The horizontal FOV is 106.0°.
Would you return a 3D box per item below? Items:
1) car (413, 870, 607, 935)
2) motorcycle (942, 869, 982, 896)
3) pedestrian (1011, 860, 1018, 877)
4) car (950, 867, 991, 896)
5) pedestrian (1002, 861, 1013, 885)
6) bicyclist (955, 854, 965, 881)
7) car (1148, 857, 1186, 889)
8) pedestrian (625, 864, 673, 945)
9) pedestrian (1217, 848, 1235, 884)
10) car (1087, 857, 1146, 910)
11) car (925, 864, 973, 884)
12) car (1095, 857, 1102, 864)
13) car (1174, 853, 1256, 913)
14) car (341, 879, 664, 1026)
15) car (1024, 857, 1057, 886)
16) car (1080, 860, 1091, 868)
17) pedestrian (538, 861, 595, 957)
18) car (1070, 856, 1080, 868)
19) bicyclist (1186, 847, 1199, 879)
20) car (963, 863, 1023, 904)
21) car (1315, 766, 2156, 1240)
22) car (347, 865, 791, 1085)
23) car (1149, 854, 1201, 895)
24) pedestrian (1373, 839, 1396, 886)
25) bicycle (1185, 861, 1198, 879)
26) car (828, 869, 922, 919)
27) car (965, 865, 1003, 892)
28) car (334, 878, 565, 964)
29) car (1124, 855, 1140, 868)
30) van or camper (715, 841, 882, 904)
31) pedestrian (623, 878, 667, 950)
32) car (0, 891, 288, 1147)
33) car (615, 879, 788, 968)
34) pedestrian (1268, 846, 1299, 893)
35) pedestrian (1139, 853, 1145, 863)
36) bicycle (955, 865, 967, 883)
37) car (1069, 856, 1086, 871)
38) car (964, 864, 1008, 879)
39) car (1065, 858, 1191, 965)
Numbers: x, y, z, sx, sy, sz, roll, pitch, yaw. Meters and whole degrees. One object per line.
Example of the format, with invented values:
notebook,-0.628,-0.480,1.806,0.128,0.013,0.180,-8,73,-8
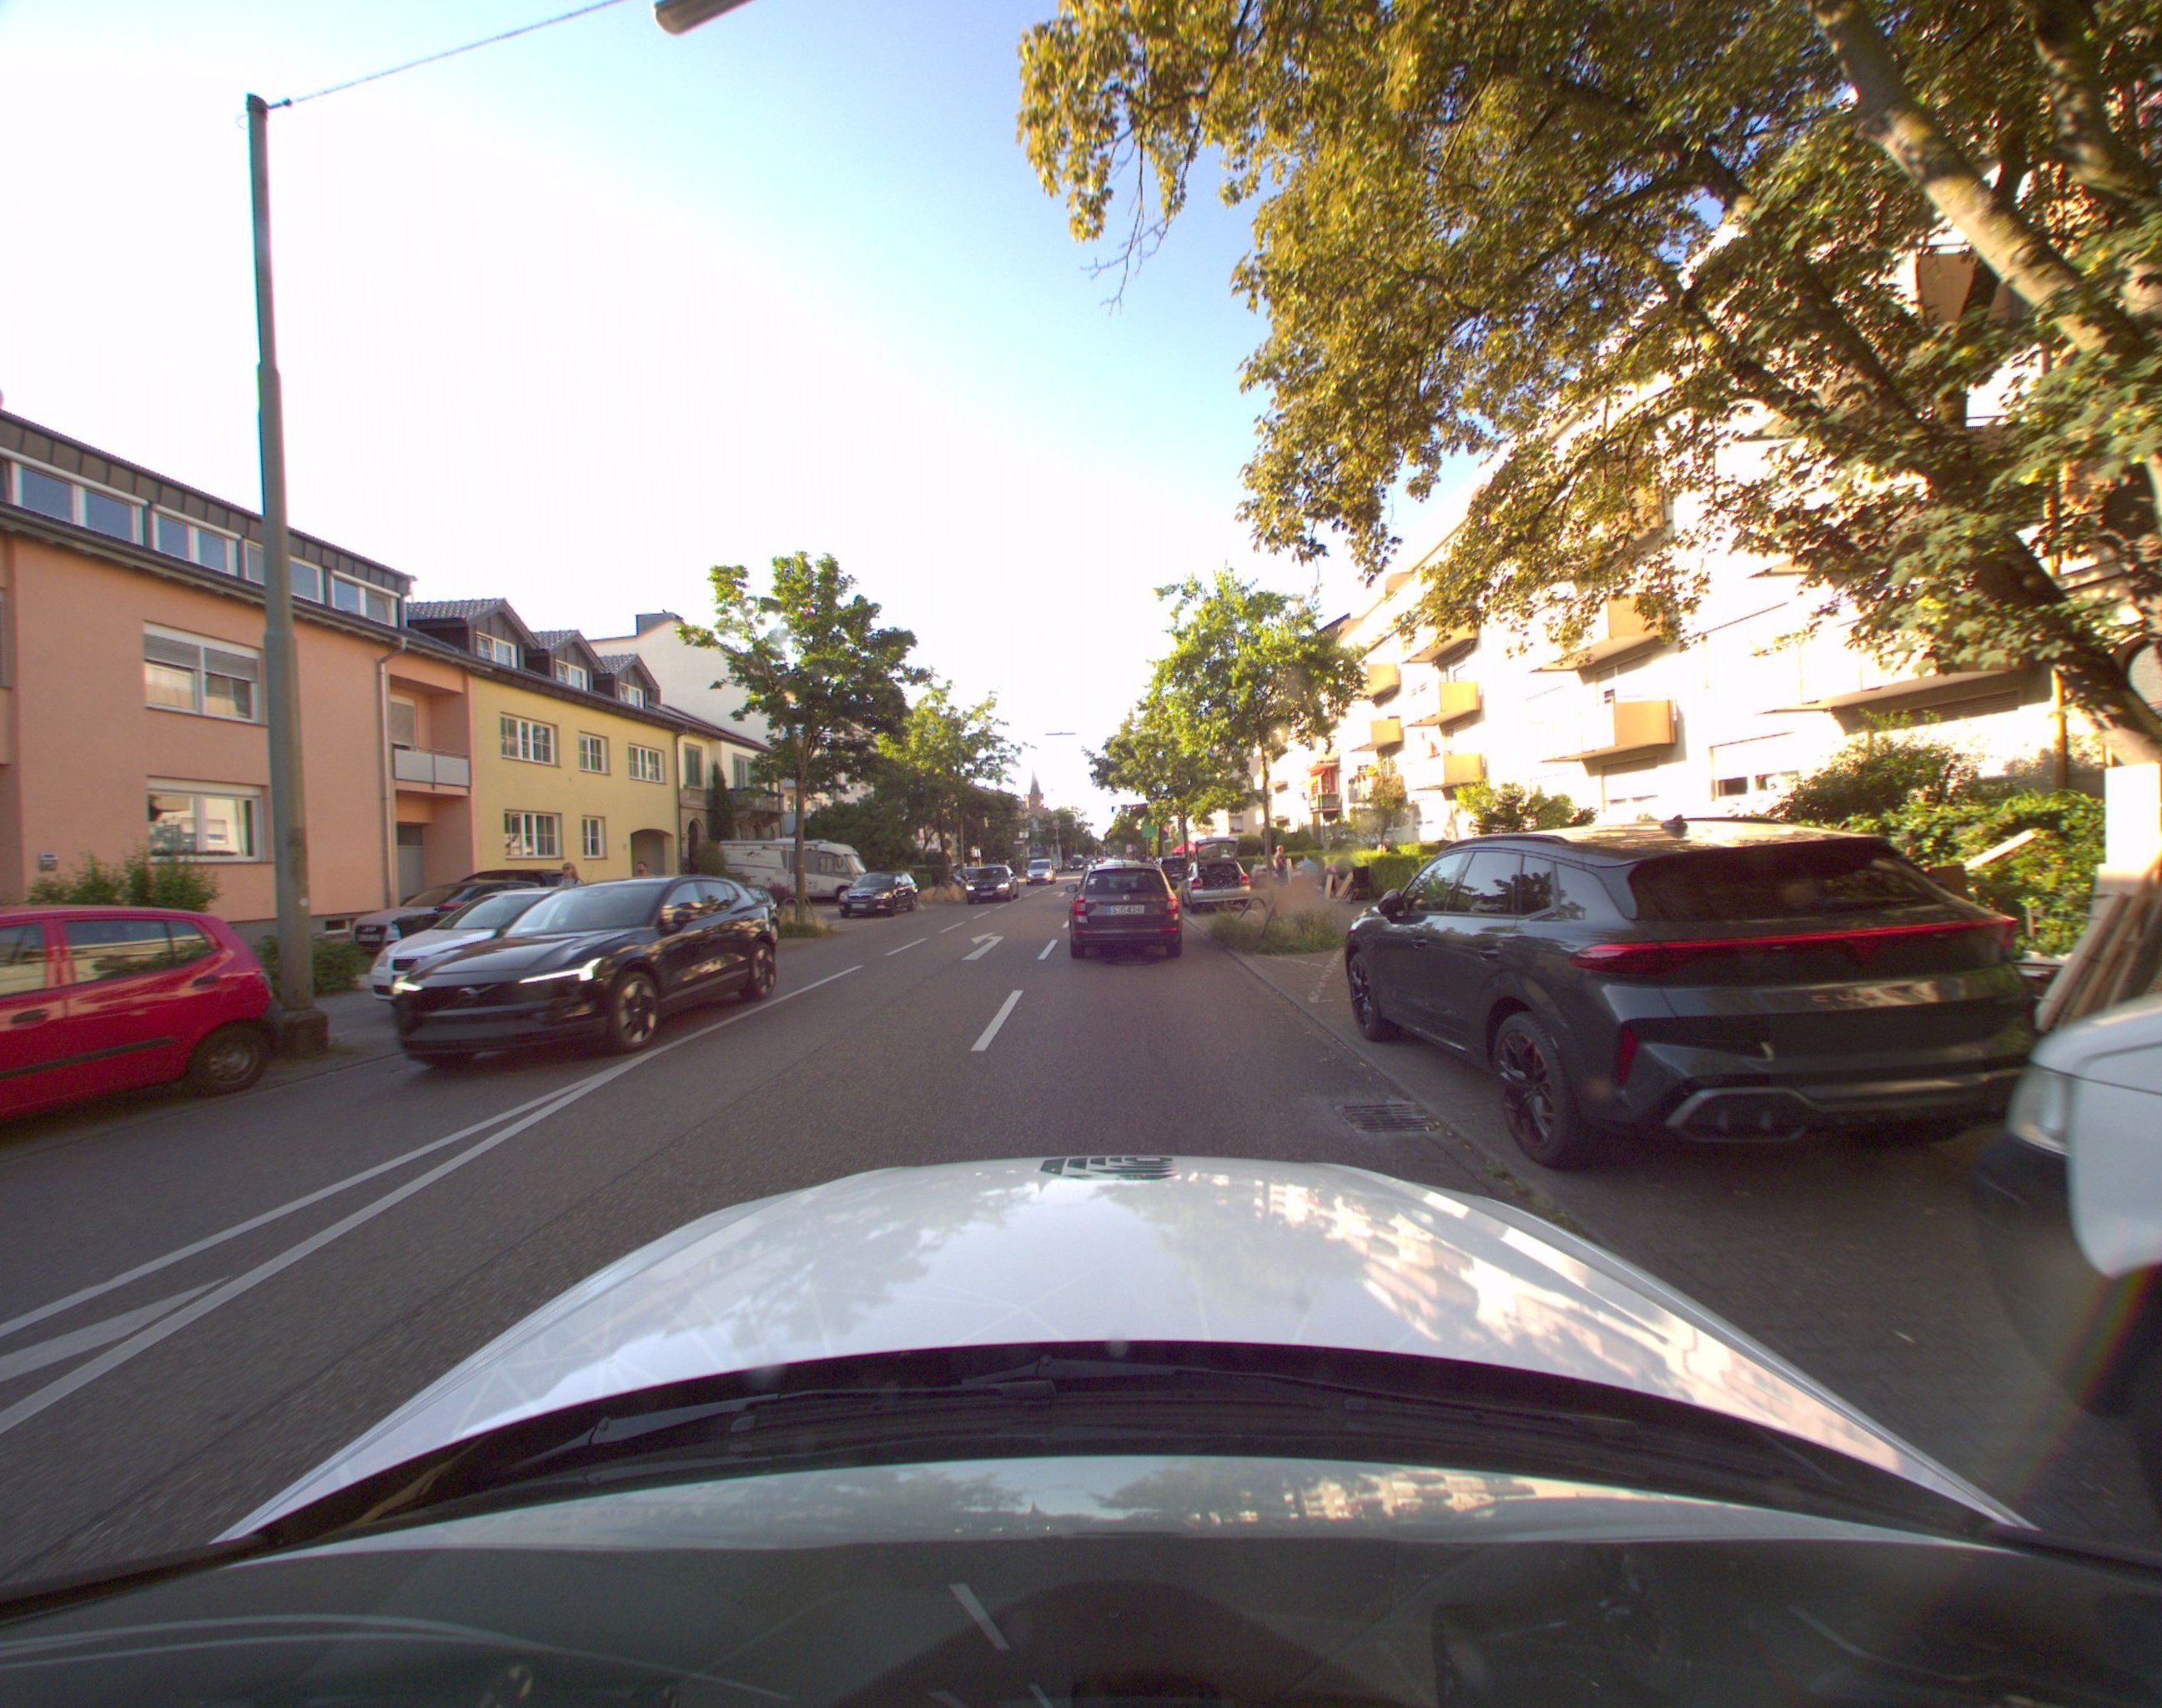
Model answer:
car,-15.424,1.279,22.146,3.971,1.636,1.867,0,-1,2
motorcycle,-6.013,1.452,41.042,2.028,1.265,0.772,-3,-1,40
pedestrian,-7.138,1.613,87.972,0.613,1.797,0.504,-3,-1,2
car,-6.000,1.486,44.753,1.587,1.470,3.805,0,0,2
pedestrian,-6.350,1.636,70.371,0.777,1.987,0.821,-3,-1,2
bicyclist,-7.599,0.854,51.210,0.467,1.663,0.552,-2,-1,1
car,4.370,0.926,41.726,1.696,1.450,4.018,-4,-1,4
pedestrian,-9.889,1.134,18.641,0.710,1.792,0.572,-3,-1,4
pedestrian,7.219,0.600,40.524,0.660,1.749,0.772,-4,-1,-1
car,1.164,0.896,26.340,1.729,1.571,4.003,-1,0,3
car,-13.846,2.065,85.491,4.617,1.812,1.862,-3,-1,1
car,5.358,2.107,251.010,1.986,2.013,4.002,-3,0,2
car,3.797,0.785,23.693,1.702,1.480,4.270,-4,-1,2
car,-7.630,1.188,11.280,1.587,1.523,3.891,-2,-1,1
car,-2.789,1.156,56.502,1.799,1.804,4.747,-4,-1,2
car,0.933,1.873,153.307,1.823,1.579,4.002,-3,-1,2
pedestrian,-9.877,1.042,15.647,0.710,1.792,0.506,-3,-1,4
car,-1.241,1.756,184.116,1.986,2.478,4.002,-3,-1,2
bicyclist,6.395,0.499,46.644,0.579,1.789,0.852,-2,-1,2
car,-3.590,1.182,34.010,1.754,1.452,4.536,-5,0,2
car,3.037,0.566,5.177,1.849,1.603,4.313,-5,-1,2
car,-4.695,0.973,8.326,1.829,1.570,4.001,-4,-1,2
car,4.090,0.864,36.104,1.849,1.581,4.015,-4,-1,2
pedestrian,10.970,0.311,29.452,0.475,1.640,0.533,-2,-1,-17
bicycle,6.318,0.886,46.627,0.514,0.987,1.832,-2,0,2
car,-6.925,1.310,27.873,1.860,1.494,4.519,-1,0,2
car,-5.822,1.478,49.382,1.642,1.517,4.076,-1,0,2
car,-12.854,1.299,16.921,1.657,1.409,3.756,-3,-1,3
car,6.948,1.017,111.118,1.984,1.772,4.005,-1,-1,5
van or camper,-12.834,0.843,37.318,6.774,2.773,2.352,0,-1,0
pedestrian,-9.447,1.296,17.646,0.587,1.496,0.543,-3,-1,4
car,-7.550,1.094,5.112,1.585,1.523,3.440,-2,-1,5
car,-7.288,1.274,16.044,1.537,1.396,3.667,-2,-1,2
pedestrian,7.240,0.543,29.115,0.748,1.640,0.700,-3,-1,38
pedestrian,9.962,0.647,132.773,0.668,1.704,0.806,-3,-1,28
bicycle,-7.577,1.264,51.457,0.484,1.064,1.534,-2,-1,1
car,-0.441,1.332,113.679,1.986,1.908,4.965,-5,-1,2
car,-10.599,1.958,91.249,4.617,1.535,1.862,-2,-1,1
car,0.735,0.833,13.793,1.766,1.489,4.312,-1,0,2
